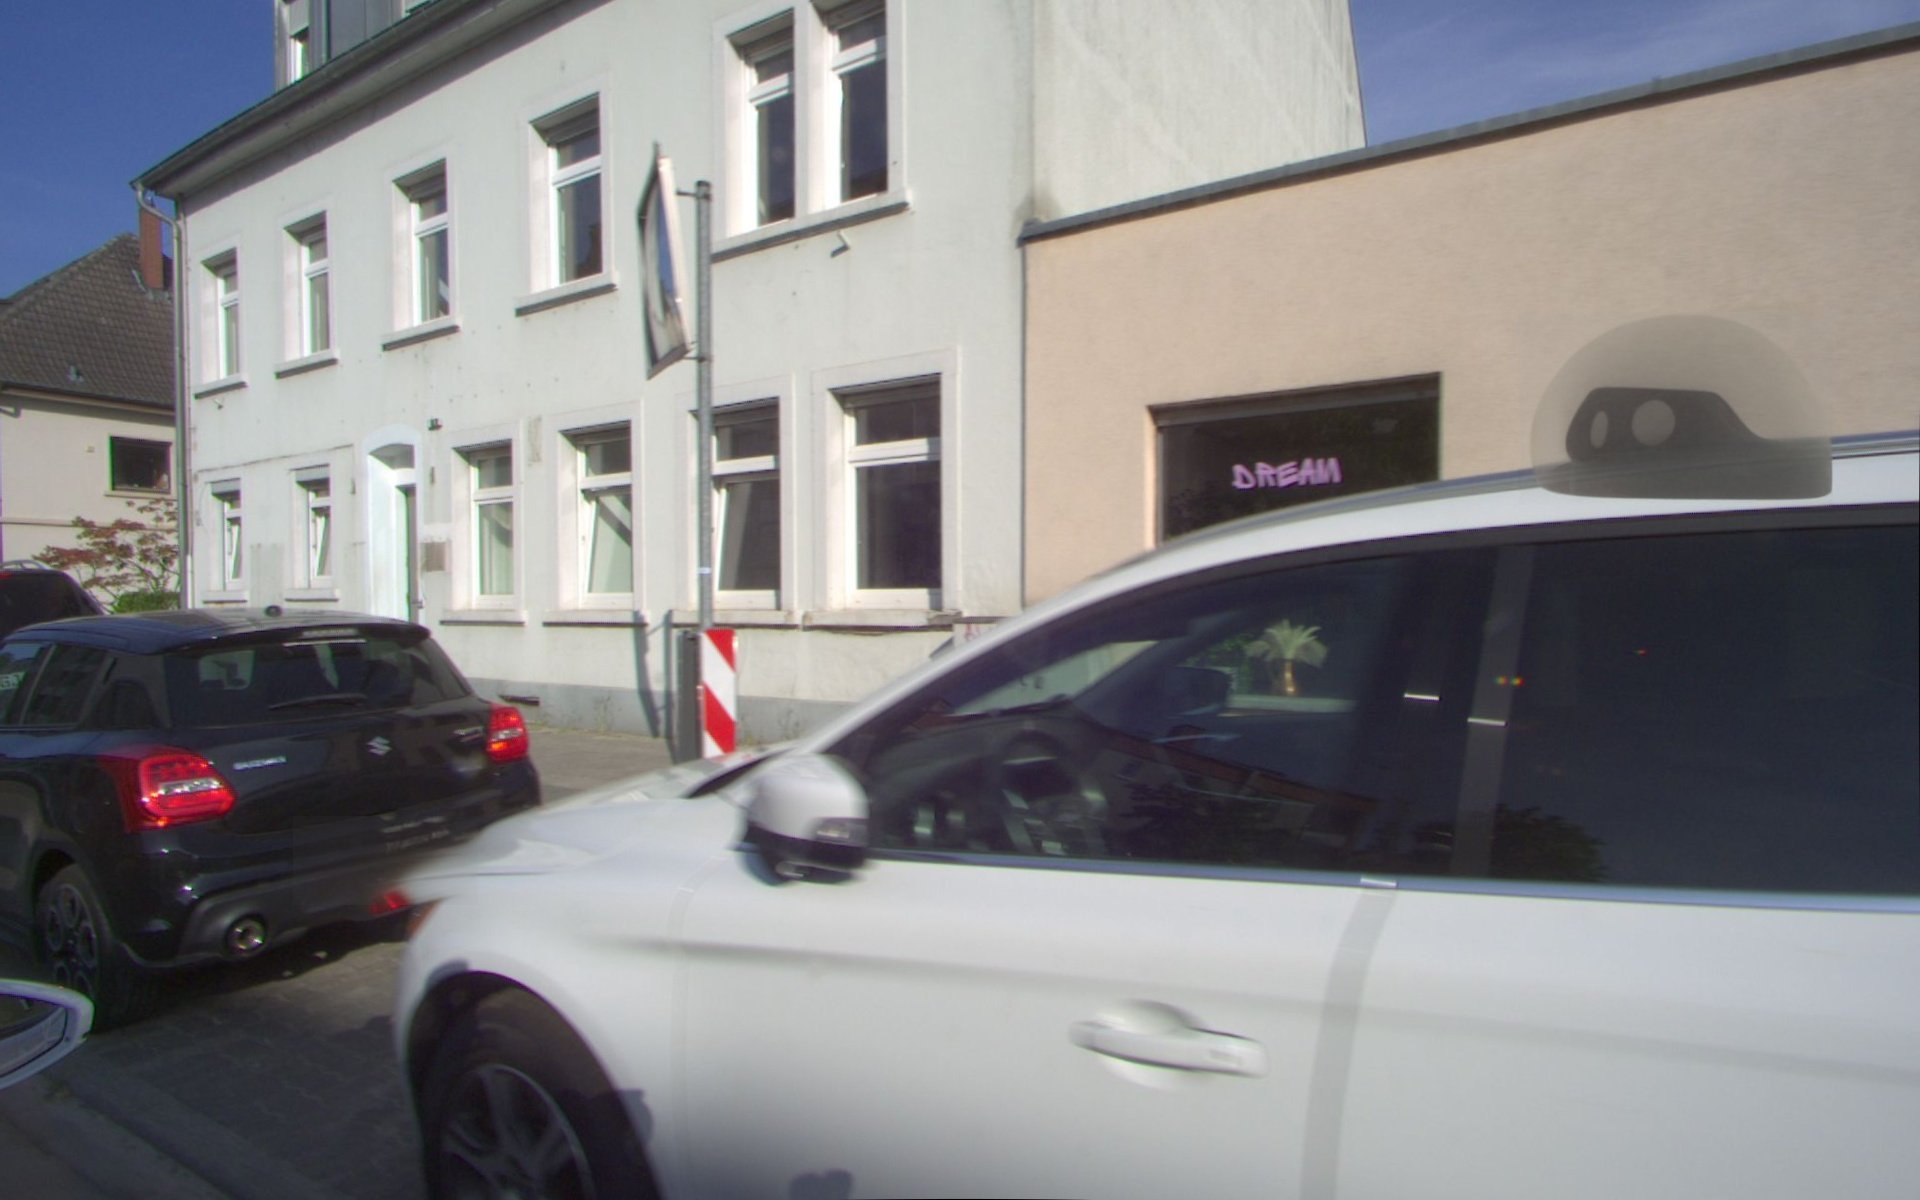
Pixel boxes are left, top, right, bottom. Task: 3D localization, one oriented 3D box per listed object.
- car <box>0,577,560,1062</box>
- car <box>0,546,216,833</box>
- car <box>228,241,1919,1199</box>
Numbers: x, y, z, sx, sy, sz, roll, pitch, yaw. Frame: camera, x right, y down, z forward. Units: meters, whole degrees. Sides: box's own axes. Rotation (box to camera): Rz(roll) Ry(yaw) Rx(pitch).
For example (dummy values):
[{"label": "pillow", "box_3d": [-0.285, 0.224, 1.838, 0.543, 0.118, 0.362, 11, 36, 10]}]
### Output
[{"label": "car", "box_3d": [-4.182, 0.721, 5.062, 4.547, 1.549, 1.585, -1, 1, 32]}, {"label": "car", "box_3d": [-8.103, 0.577, 7.980, 4.546, 1.881, 2.069, 0, 2, 34]}, {"label": "car", "box_3d": [0.686, 0.532, 1.955, 4.411, 1.707, 1.808, 0, 3, 31]}]
